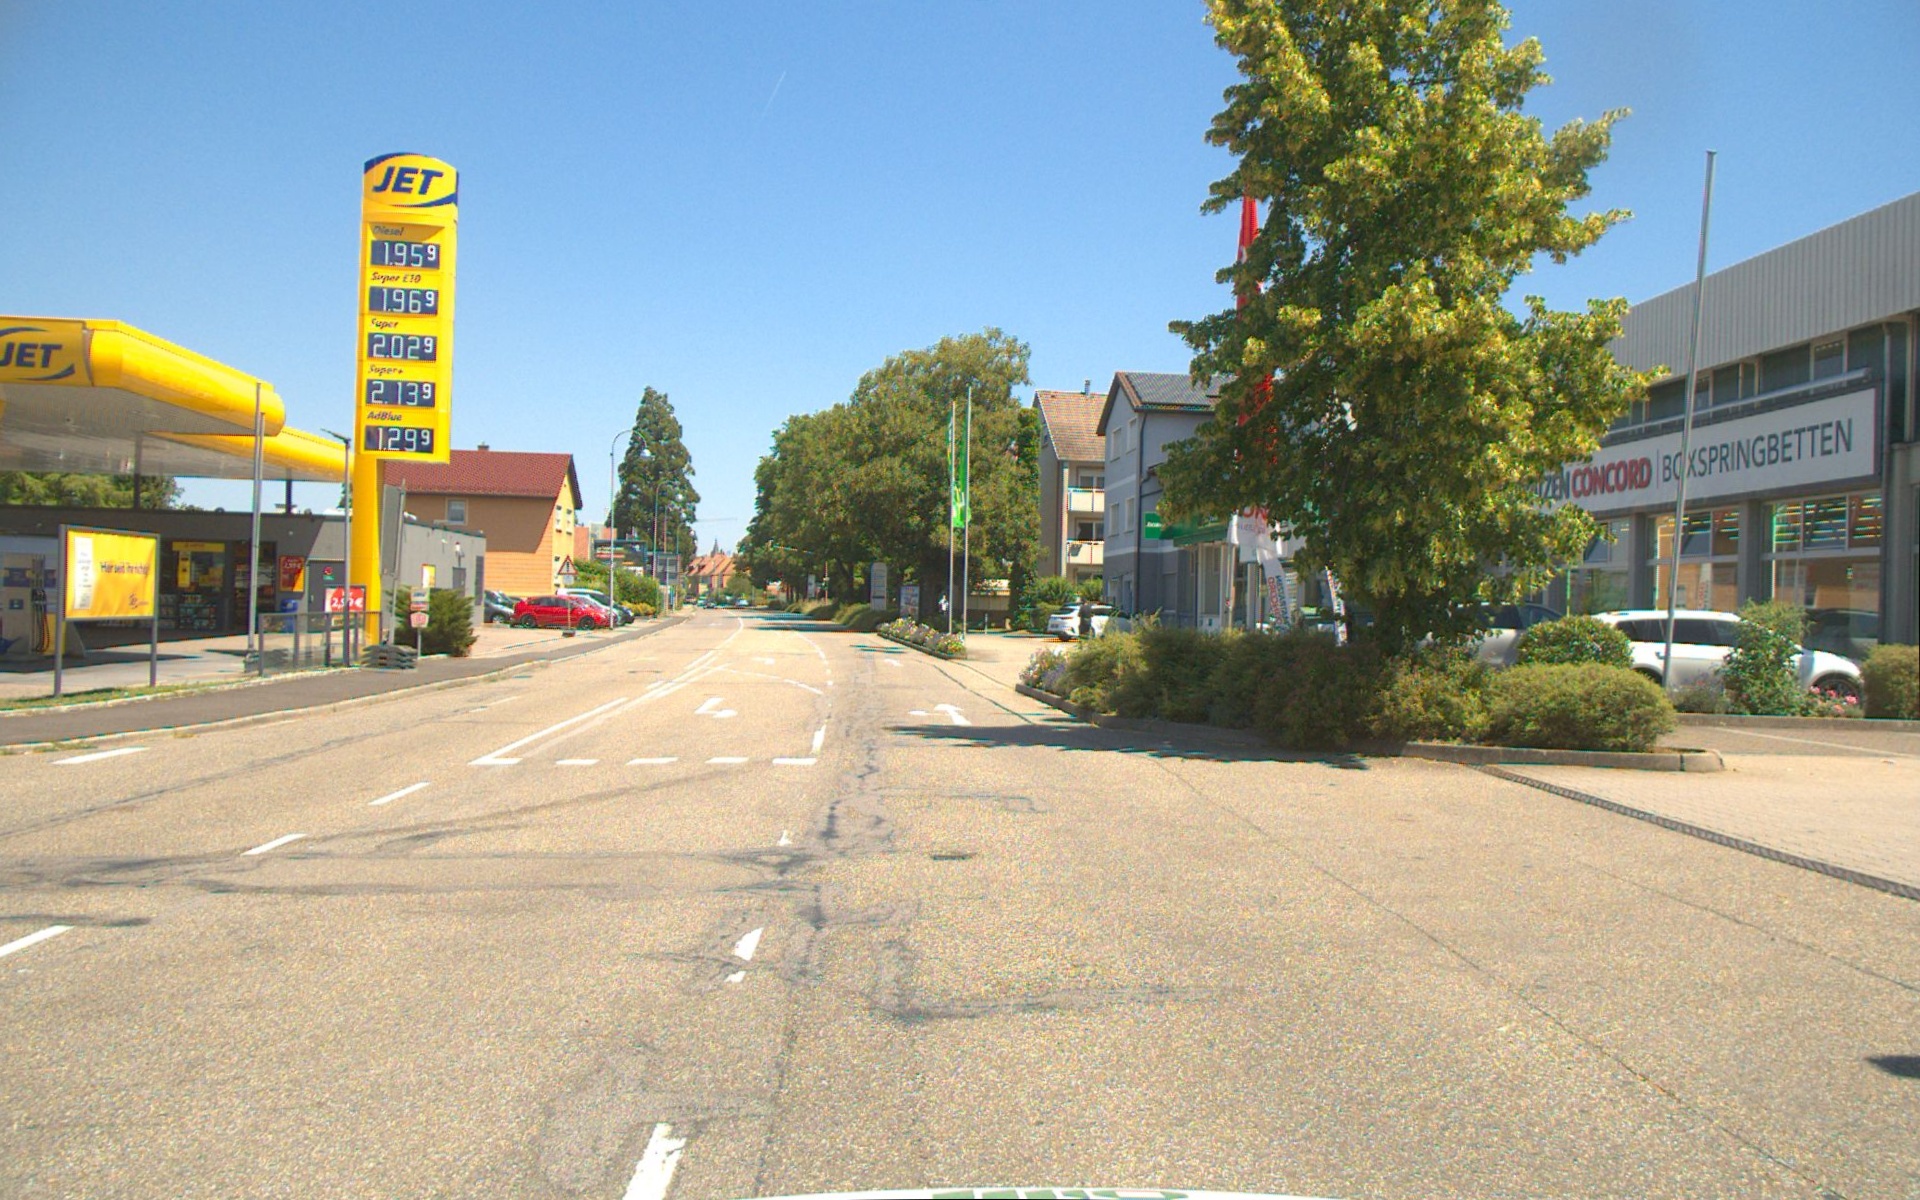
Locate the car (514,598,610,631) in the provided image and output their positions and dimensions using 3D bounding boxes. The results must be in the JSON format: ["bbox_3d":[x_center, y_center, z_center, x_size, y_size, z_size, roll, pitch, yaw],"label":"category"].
[{"bbox_3d":[-17.966,0.657,74.869,4.048,1.469,1.824,0,0,-8],"label":"car"}]

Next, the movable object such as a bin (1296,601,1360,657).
[{"bbox_3d":[10.046,0.790,45.185,1.531,1.447,0.702,-2,0,0],"label":"movable object such as a bin"}]

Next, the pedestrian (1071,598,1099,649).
[{"bbox_3d":[4.125,0.770,54.571,0.823,1.670,1.009,0,0,-3],"label":"pedestrian"}]

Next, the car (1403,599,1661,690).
[{"bbox_3d":[10.908,0.824,31.849,4.483,1.670,2.002,0,0,12],"label":"car"}]

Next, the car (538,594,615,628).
[{"bbox_3d":[-18.979,0.539,81.944,3.596,1.608,1.918,0,0,-10],"label":"car"}]

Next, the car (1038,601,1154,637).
[{"bbox_3d":[5.422,0.733,65.786,4.297,1.395,1.936,0,0,-30],"label":"car"}]

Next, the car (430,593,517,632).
[{"bbox_3d":[-22.379,0.582,76.230,3.597,1.739,1.888,0,0,-10],"label":"car"}]

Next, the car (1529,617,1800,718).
[{"bbox_3d":[11.329,1.058,26.840,3.772,1.560,1.679,0,0,11],"label":"car"}]

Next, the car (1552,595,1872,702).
[{"bbox_3d":[10.855,0.677,24.127,3.902,1.486,1.807,0,0,9],"label":"car"}]

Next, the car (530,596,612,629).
[{"bbox_3d":[-18.185,0.583,77.452,3.596,1.483,1.888,0,0,-10],"label":"car"}]

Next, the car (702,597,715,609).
[{"bbox_3d":[-33.135,0.420,218.113,1.678,1.521,4.270,0,1,-8],"label":"car"}]

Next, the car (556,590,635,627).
[{"bbox_3d":[-19.450,0.440,88.420,4.021,1.931,1.994,0,0,-12],"label":"car"}]

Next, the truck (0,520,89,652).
[{"bbox_3d":[-20.428,-0.290,33.221,2.187,2.644,6.732,0,0,1],"label":"truck"}]
